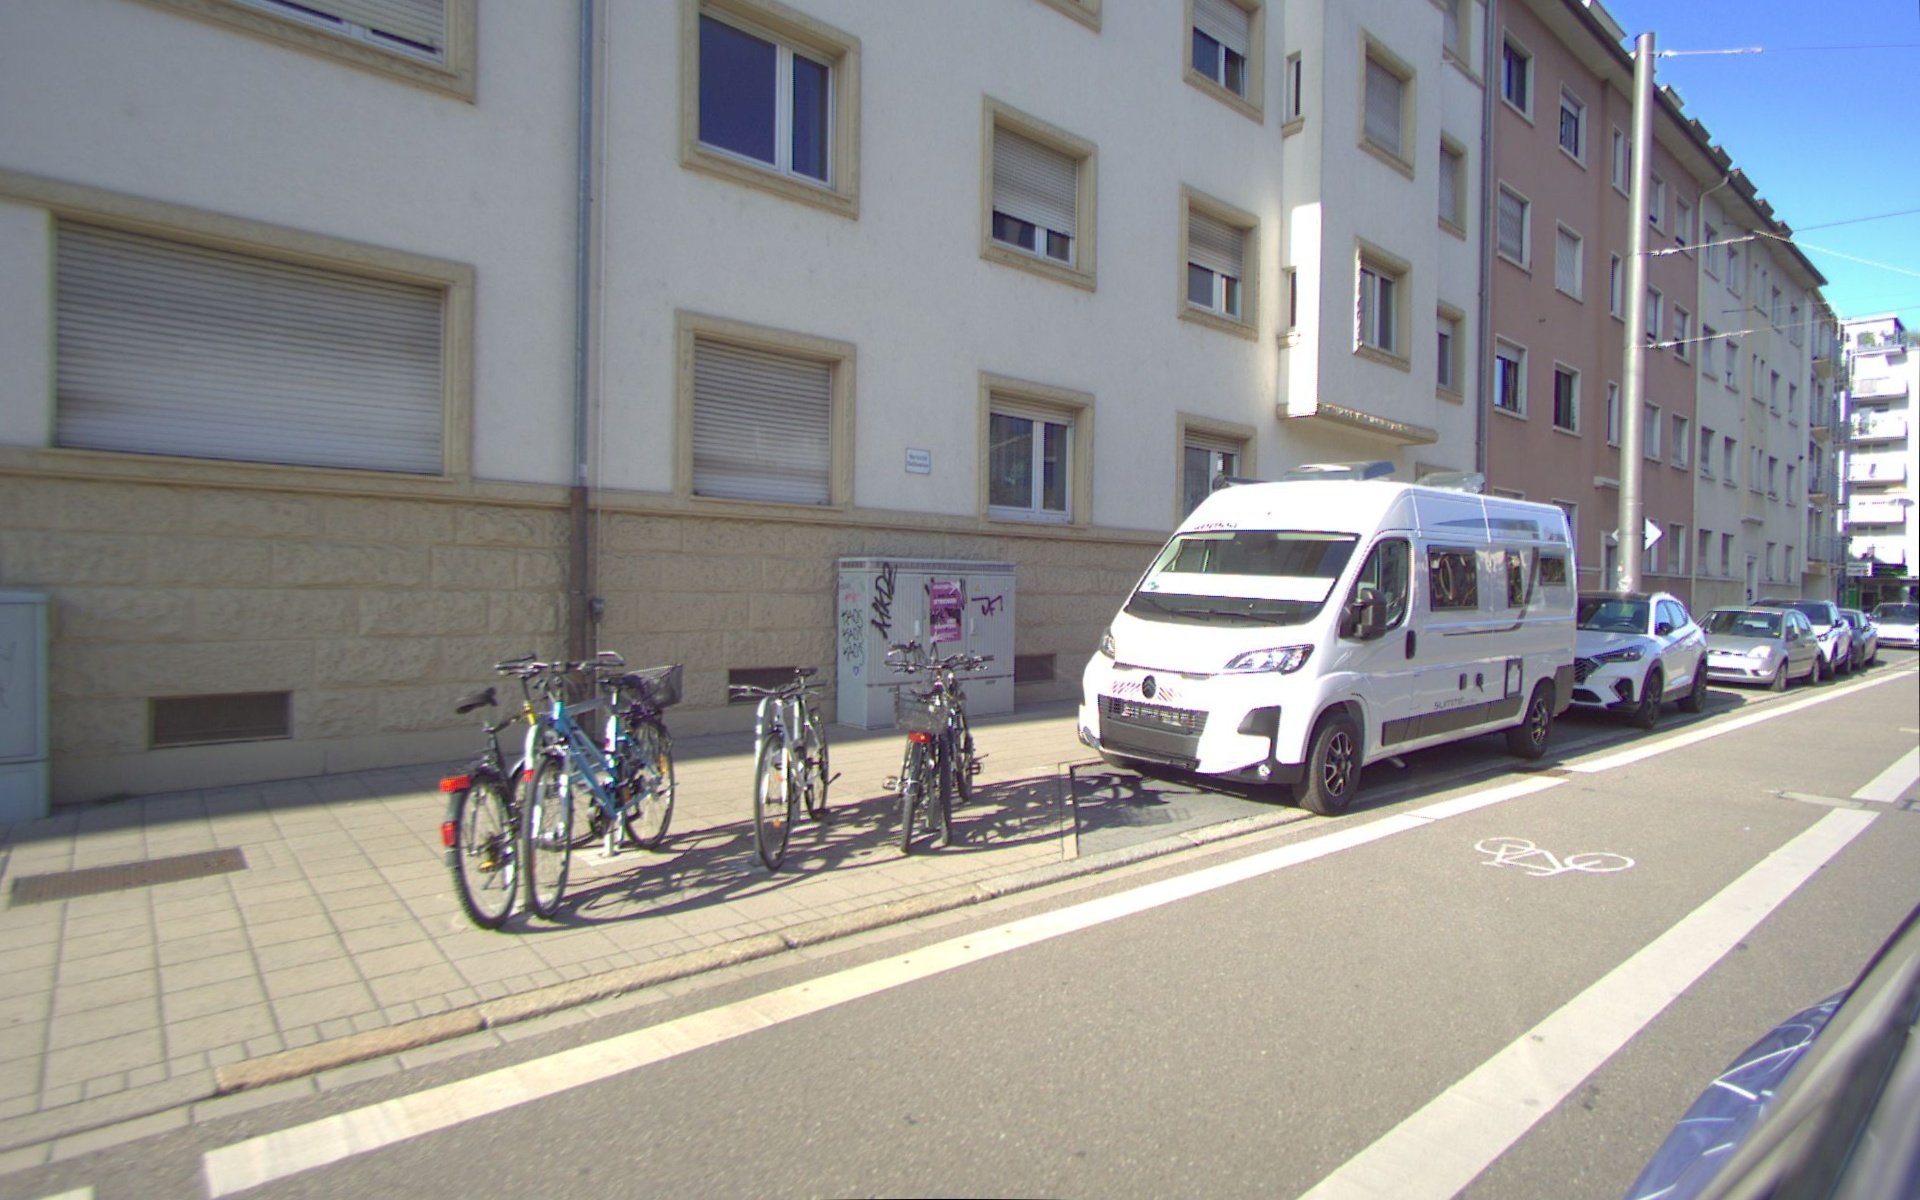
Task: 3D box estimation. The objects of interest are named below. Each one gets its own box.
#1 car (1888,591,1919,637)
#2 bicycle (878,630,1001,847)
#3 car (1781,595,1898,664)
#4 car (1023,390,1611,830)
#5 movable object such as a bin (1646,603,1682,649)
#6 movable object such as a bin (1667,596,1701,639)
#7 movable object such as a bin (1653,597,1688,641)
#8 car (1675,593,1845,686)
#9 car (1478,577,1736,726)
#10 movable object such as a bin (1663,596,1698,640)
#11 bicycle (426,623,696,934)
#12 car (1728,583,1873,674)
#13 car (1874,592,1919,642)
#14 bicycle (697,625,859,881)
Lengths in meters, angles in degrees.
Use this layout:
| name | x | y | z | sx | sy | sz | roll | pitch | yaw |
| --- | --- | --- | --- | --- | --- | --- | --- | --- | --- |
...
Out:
| name | x | y | z | sx | sy | sz | roll | pitch | yaw |
| --- | --- | --- | --- | --- | --- | --- | --- | --- | --- |
| car | 35.042 | 0.498 | 36.605 | 4.104 | 1.571 | 1.821 | 0 | 3 | -43 |
| bicycle | -0.070 | 0.759 | 6.328 | 0.478 | 1.101 | 2.024 | -1 | -1 | 7 |
| car | 22.409 | 0.683 | 25.741 | 4.083 | 1.497 | 1.748 | 0 | 4 | -43 |
| car | 3.557 | 0.001 | 9.127 | 6.182 | 2.729 | 2.155 | 0 | 3 | -41 |
| movable object such as a bin | 18.070 | 0.670 | 25.980 | 0.553 | 1.150 | 0.604 | 0 | -2 | -40 |
| movable object such as a bin | 19.731 | 0.466 | 27.579 | 0.553 | 1.150 | 0.604 | 0 | -2 | -40 |
| movable object such as a bin | 18.669 | 0.493 | 26.591 | 0.553 | 1.150 | 0.604 | 0 | -2 | -40 |
| car | 15.080 | 0.667 | 19.012 | 3.981 | 1.478 | 1.626 | 0 | 3 | -39 |
| car | 8.864 | 0.561 | 13.700 | 4.497 | 1.657 | 1.850 | 0 | 2 | -43 |
| movable object such as a bin | 19.291 | 0.488 | 27.100 | 0.553 | 1.150 | 0.604 | 0 | -2 | -40 |
| bicycle | -1.855 | 0.738 | 5.015 | 0.465 | 1.100 | 1.917 | 3 | 2 | 2 |
| car | 18.528 | 0.558 | 22.247 | 4.414 | 1.718 | 1.804 | 0 | 4 | -43 |
| car | 31.985 | 0.551 | 33.897 | 2.605 | 1.571 | 1.760 | 0 | 2 | -43 |
| bicycle | -0.970 | 0.761 | 5.825 | 0.465 | 1.100 | 1.917 | -2 | 2 | 2 |
